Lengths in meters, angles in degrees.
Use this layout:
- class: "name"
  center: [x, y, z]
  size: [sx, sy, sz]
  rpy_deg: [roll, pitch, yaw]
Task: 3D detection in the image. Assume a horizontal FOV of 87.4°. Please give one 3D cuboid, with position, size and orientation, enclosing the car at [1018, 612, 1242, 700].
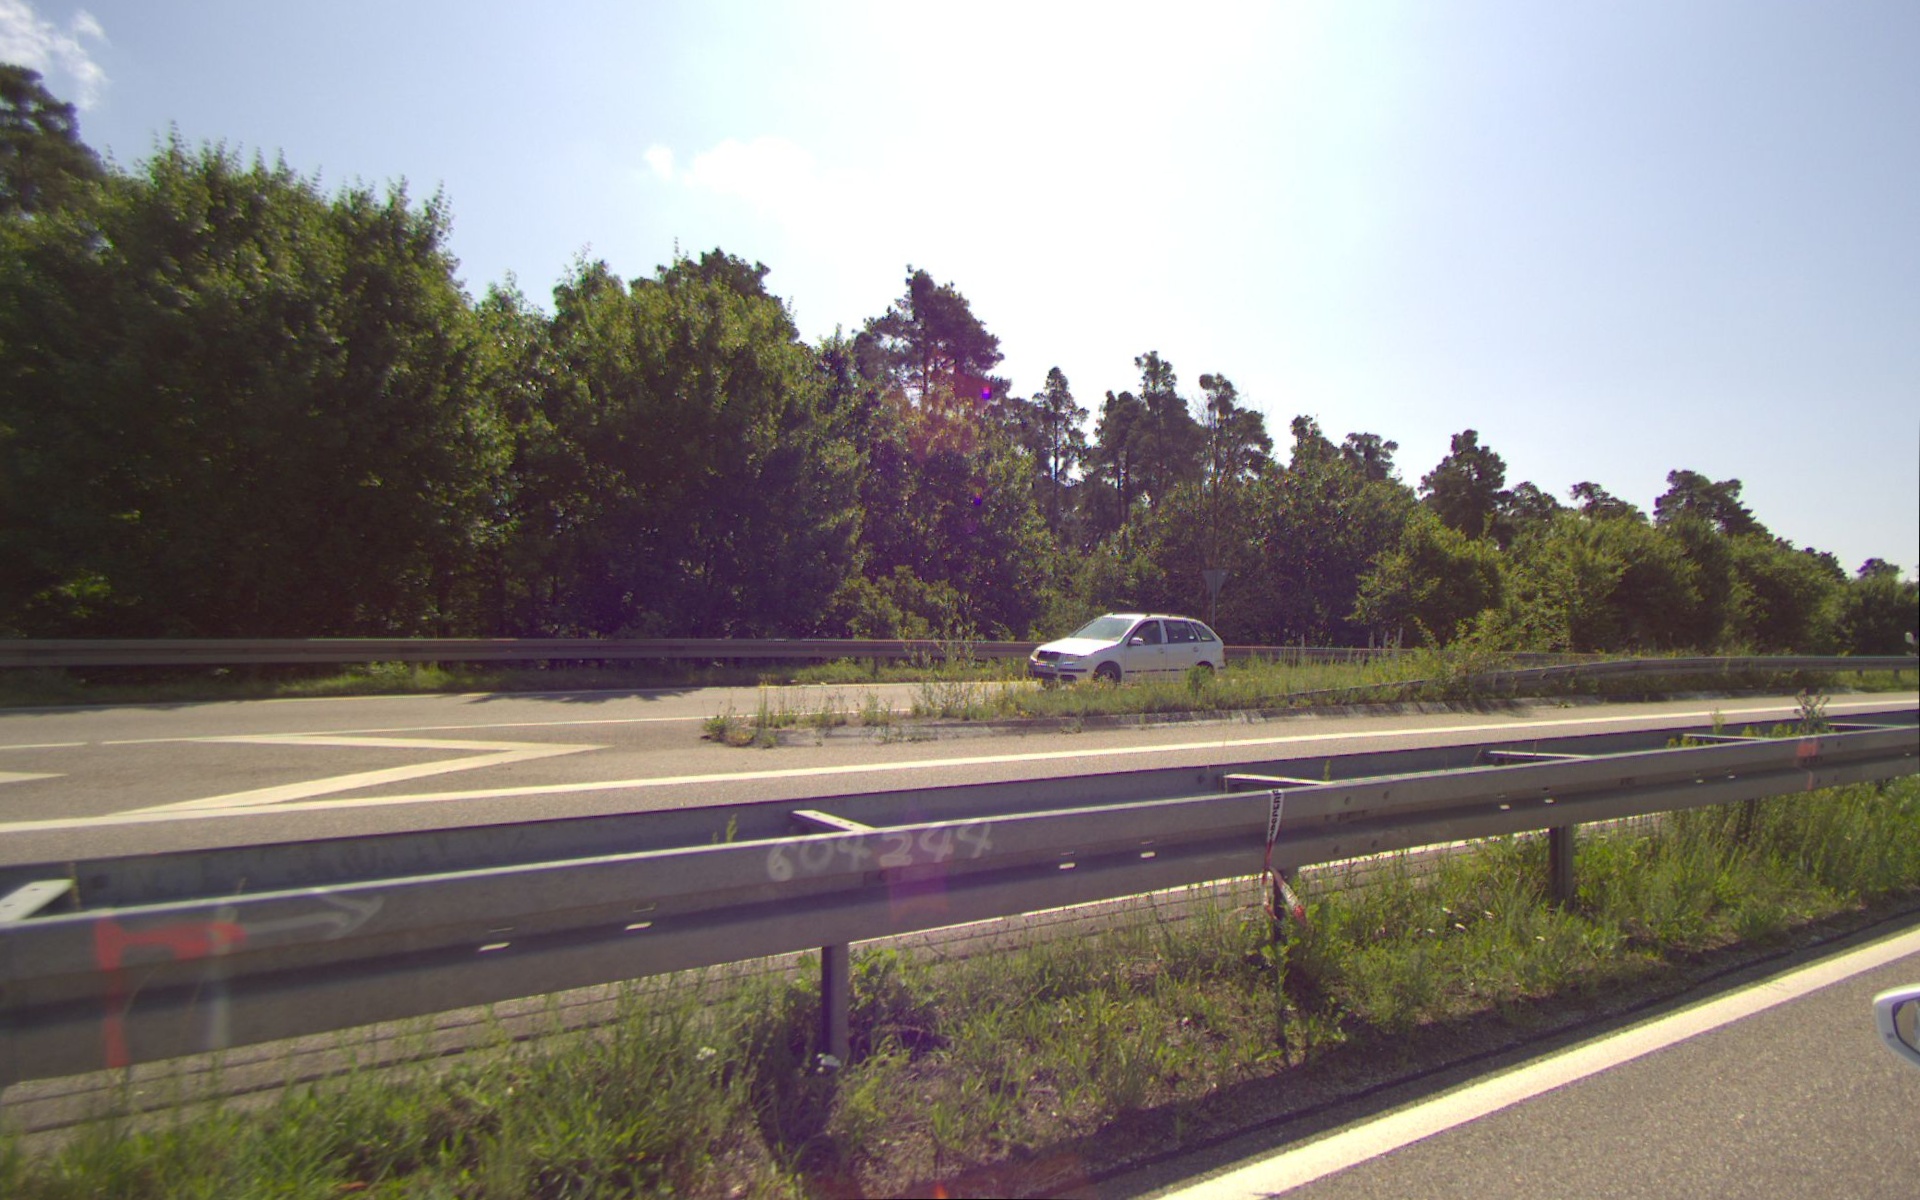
- class: "car"
  center: [3.235, 0.972, 18.726]
  size: [4.169, 1.447, 1.667]
  rpy_deg: [1, 0, -35]
